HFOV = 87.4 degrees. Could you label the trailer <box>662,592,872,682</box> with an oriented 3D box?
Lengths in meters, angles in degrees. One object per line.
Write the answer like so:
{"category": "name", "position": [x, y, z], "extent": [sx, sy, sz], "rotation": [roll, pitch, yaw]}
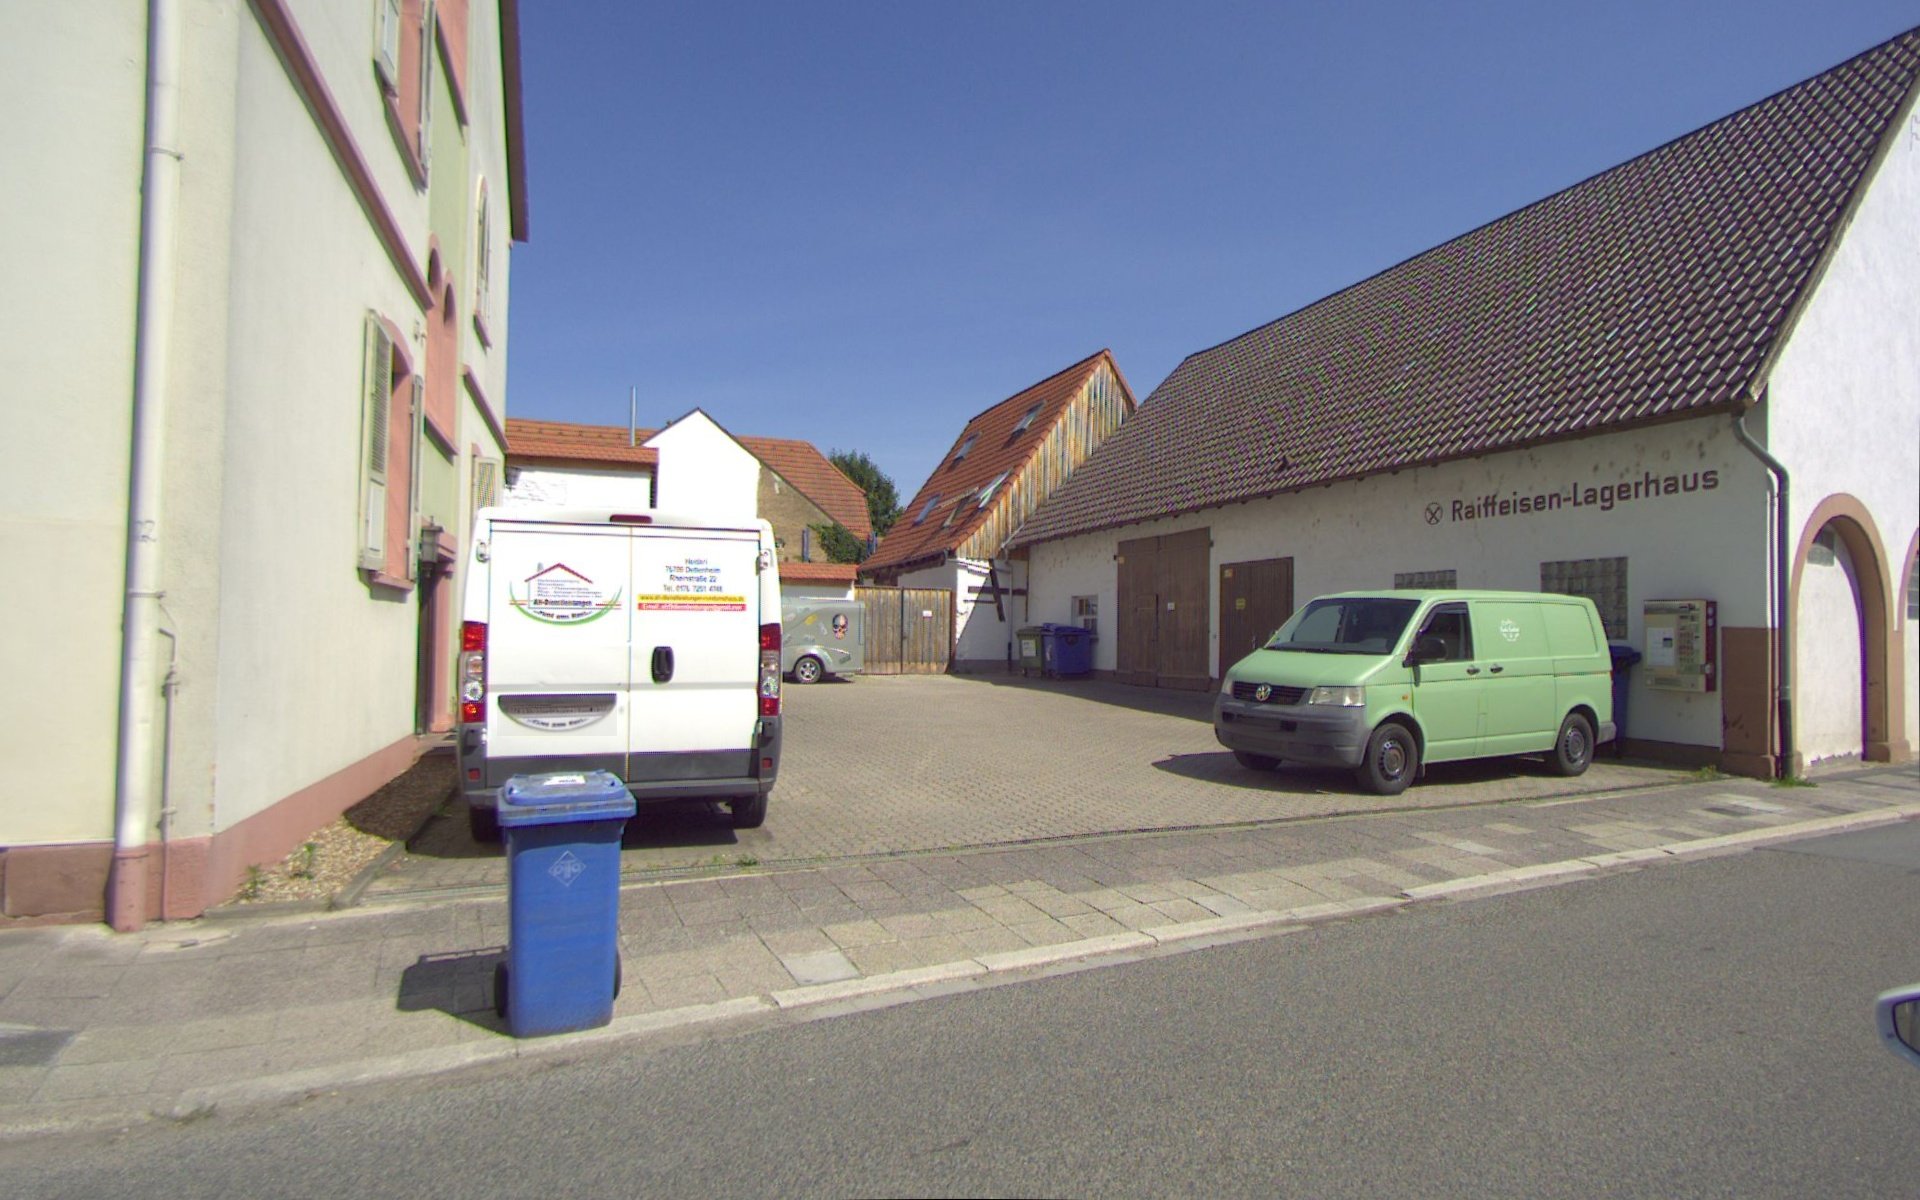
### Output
{"category": "trailer", "position": [-4.754, 0.928, 24.688], "extent": [4.822, 2.040, 1.991], "rotation": [2, -2, -20]}

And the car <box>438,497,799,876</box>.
{"category": "car", "position": [-2.866, 0.576, 8.698], "extent": [2.089, 2.226, 5.172], "rotation": [1, -1, -18]}

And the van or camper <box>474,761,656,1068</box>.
{"category": "van or camper", "position": [-1.524, 1.157, 3.887], "extent": [0.592, 0.964, 0.588], "rotation": [1, -1, -23]}

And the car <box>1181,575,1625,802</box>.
{"category": "car", "position": [4.829, 0.859, 10.828], "extent": [4.611, 1.990, 1.986], "rotation": [2, -2, -28]}

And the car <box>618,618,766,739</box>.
{"category": "car", "position": [-4.118, 1.075, 15.414], "extent": [1.878, 1.485, 4.350], "rotation": [1, 0, -16]}
